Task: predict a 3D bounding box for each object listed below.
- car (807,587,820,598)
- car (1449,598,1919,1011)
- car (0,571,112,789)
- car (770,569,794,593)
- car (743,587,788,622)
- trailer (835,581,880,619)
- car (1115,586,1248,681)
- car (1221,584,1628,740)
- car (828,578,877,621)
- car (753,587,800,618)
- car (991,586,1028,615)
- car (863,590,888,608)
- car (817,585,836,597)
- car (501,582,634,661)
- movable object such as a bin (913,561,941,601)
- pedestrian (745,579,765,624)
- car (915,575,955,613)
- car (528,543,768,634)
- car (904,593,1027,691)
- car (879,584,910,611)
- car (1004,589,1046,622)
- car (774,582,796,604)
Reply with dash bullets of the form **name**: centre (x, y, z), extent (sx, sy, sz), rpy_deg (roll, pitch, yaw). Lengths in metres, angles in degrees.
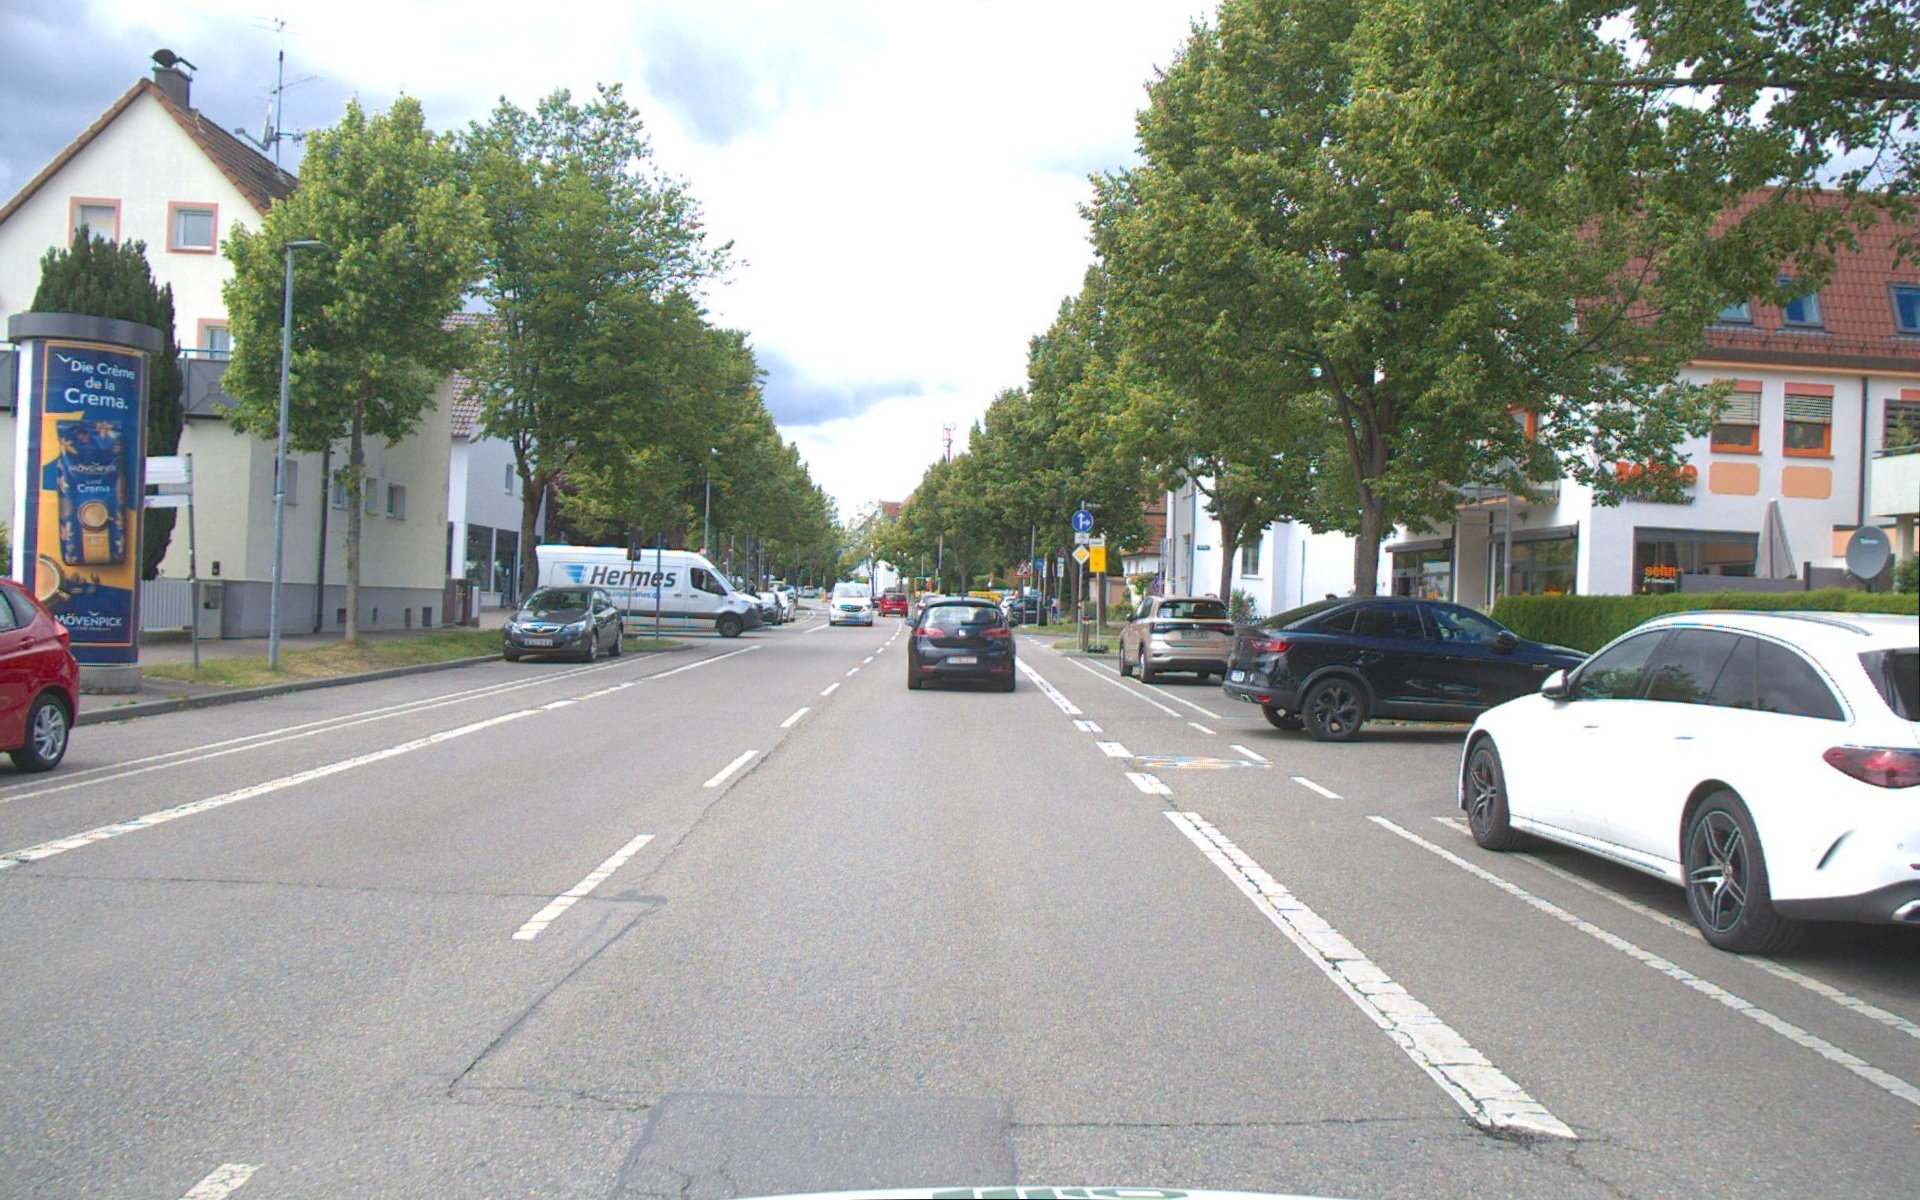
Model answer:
- **car**: centre (-20.696, -1.101, 233.998), extent (1.775, 1.440, 3.688), rpy_deg (1, 0, -7)
- **car**: centre (4.225, 0.772, 8.560), extent (1.769, 1.500, 4.810), rpy_deg (1, 0, -2)
- **car**: centre (-7.783, 0.569, 11.408), extent (1.650, 1.568, 4.133), rpy_deg (1, 0, 1)
- **car**: centre (-17.242, -1.842, 160.088), extent (2.054, 2.213, 5.034), rpy_deg (1, 0, -9)
- **car**: centre (-8.412, 0.187, 71.637), extent (1.610, 1.445, 4.019), rpy_deg (0, 0, -2)
- **trailer**: centre (-4.867, -0.005, 78.990), extent (1.899, 1.706, 4.687), rpy_deg (1, 0, -1)
- **car**: centre (4.008, 0.562, 30.519), extent (1.687, 1.608, 4.059), rpy_deg (1, 0, -3)
- **car**: centre (5.200, 0.659, 18.771), extent (4.136, 1.666, 1.691), rpy_deg (0, 0, -7)
- **car**: centre (-4.786, -0.038, 74.240), extent (1.926, 1.862, 4.818), rpy_deg (1, 0, -1)
- **car**: centre (-8.702, 0.093, 78.596), extent (1.679, 1.431, 4.300), rpy_deg (1, 0, 0)
- **car**: centre (2.672, 0.010, 89.509), extent (1.639, 1.488, 3.997), rpy_deg (1, 0, -4)
- **car**: centre (-6.815, -0.116, 132.991), extent (1.775, 1.399, 3.688), rpy_deg (1, 0, -6)
- **car**: centre (-15.587, -1.047, 192.673), extent (1.778, 1.440, 3.682), rpy_deg (1, 0, -12)
- **car**: centre (-7.960, 0.395, 33.910), extent (1.695, 1.494, 4.301), rpy_deg (0, 0, 0)
- **movable object such as a bin**: centre (-2.234, -1.288, 111.716), extent (1.733, 2.619, 3.737), rpy_deg (1, 0, -3)
- **pedestrian**: centre (-7.850, 0.052, 63.433), extent (0.531, 1.710, 0.751), rpy_deg (3, 1, 7)
- **car**: centre (-1.196, -0.299, 78.874), extent (1.867, 1.715, 3.739), rpy_deg (0, 0, -1)
- **car**: centre (-9.665, -0.348, 51.786), extent (7.146, 2.639, 2.218), rpy_deg (1, 0, -5)
- **car**: centre (0.027, 0.630, 26.990), extent (1.783, 1.463, 3.737), rpy_deg (0, 0, -3)
- **car**: centre (-4.111, -0.148, 103.062), extent (1.756, 1.651, 3.736), rpy_deg (0, 0, -5)
- **car**: centre (3.093, 0.246, 79.629), extent (1.671, 1.480, 4.614), rpy_deg (1, 0, -2)
- **car**: centre (-14.651, -0.559, 138.228), extent (1.636, 1.803, 4.459), rpy_deg (0, 1, -9)
